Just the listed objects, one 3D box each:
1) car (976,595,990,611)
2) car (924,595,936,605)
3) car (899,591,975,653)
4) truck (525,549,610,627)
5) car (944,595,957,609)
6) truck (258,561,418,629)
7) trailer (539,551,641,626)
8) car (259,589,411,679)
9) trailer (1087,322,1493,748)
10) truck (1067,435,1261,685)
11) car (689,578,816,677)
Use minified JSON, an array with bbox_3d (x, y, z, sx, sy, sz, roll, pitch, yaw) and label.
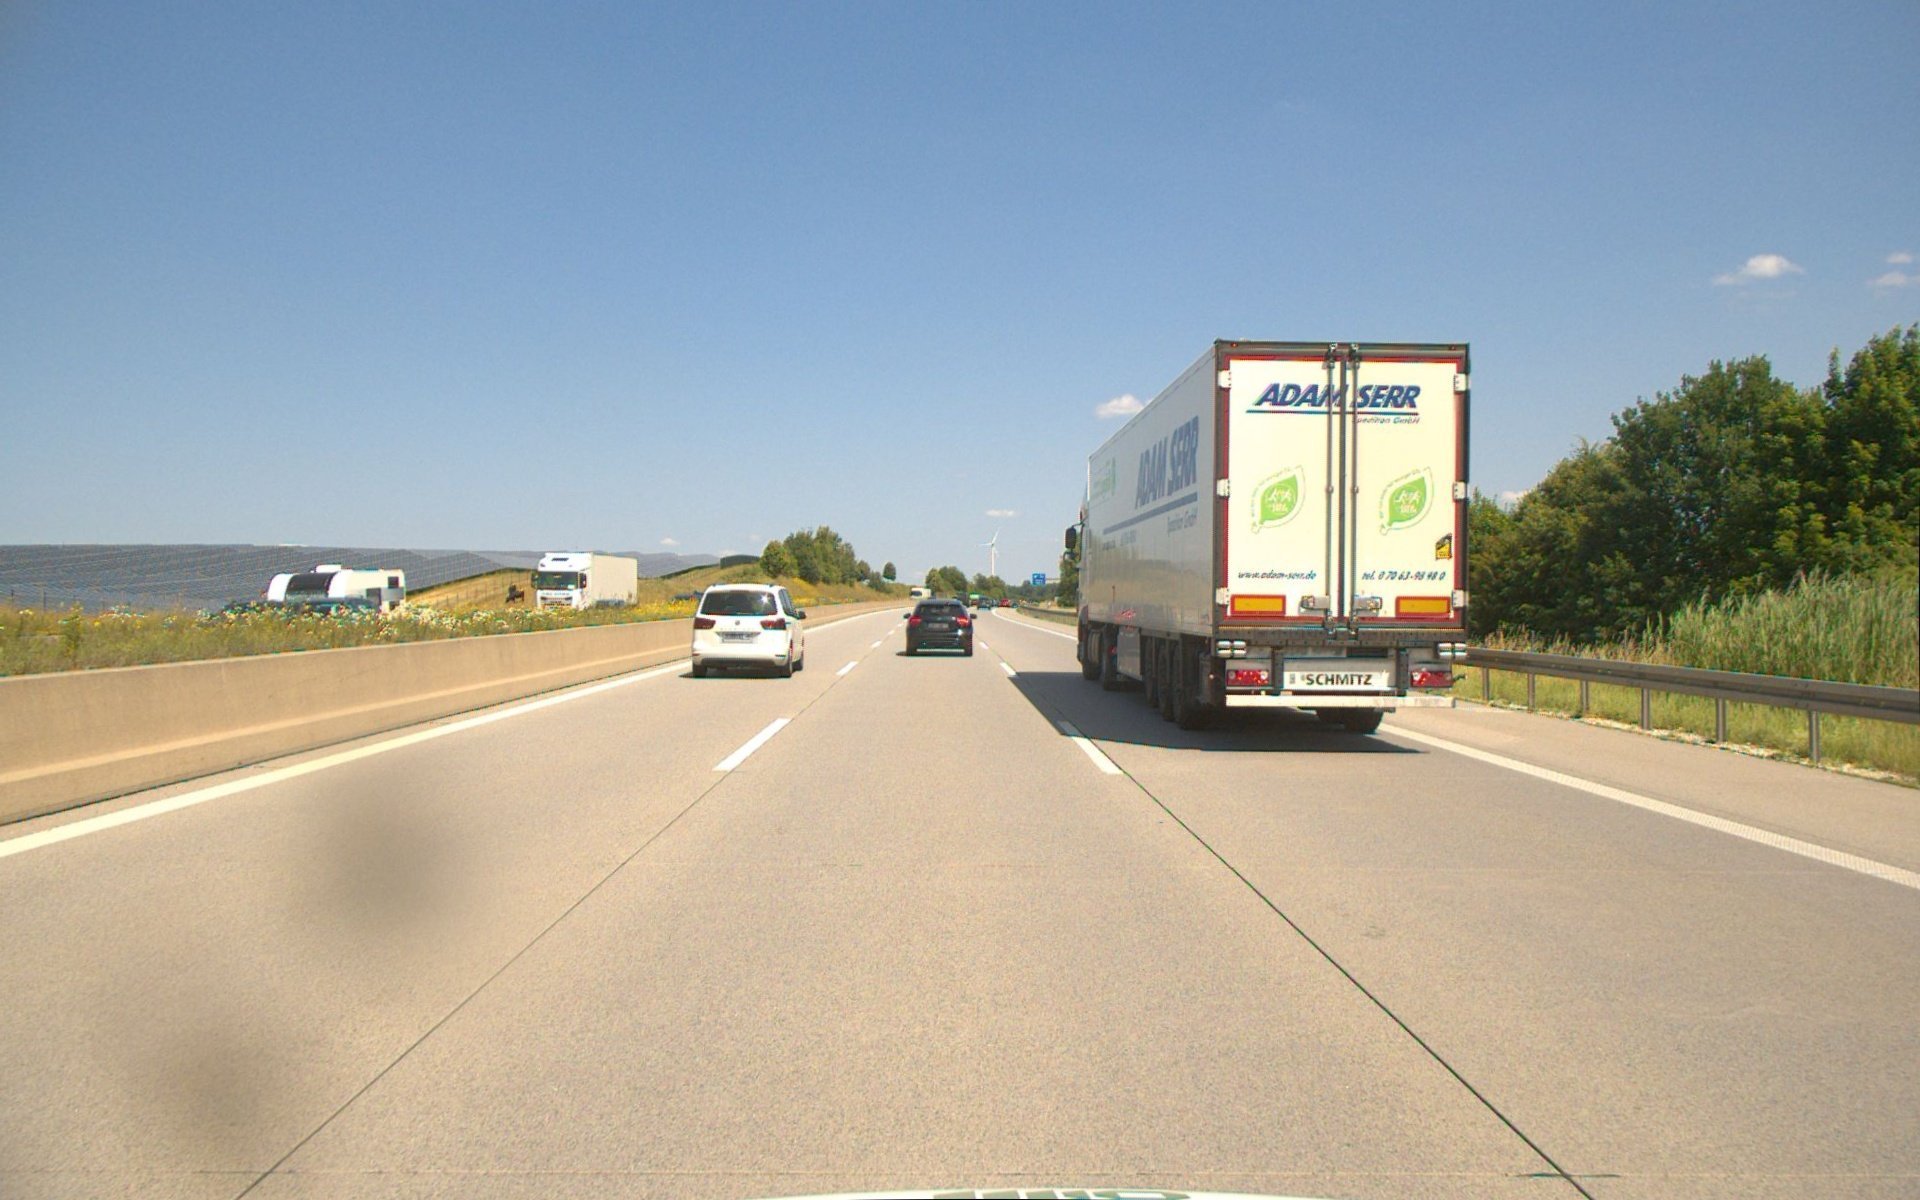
[{"bbox_3d":[3.001,0.381,215.688,1.789,1.940,4.000,1,0,0],"label":"car"},{"bbox_3d":[-4.238,-0.011,235.990,1.622,1.217,3.959,3,0,-1],"label":"car"},{"bbox_3d":[-0.662,0.553,43.956,1.872,1.518,4.190,1,0,-2],"label":"car"},{"bbox_3d":[-21.787,-0.623,92.108,3.027,4.074,7.253,1,0,-1],"label":"truck"},{"bbox_3d":[-1.342,0.306,239.639,1.790,1.971,3.809,0,0,0],"label":"car"},{"bbox_3d":[-20.423,-0.142,54.809,2.466,2.049,7.628,1,0,-1],"label":"truck"},{"bbox_3d":[-21.907,-0.603,98.891,3.027,4.074,14.137,1,0,-1],"label":"trailer"},{"bbox_3d":[-13.059,0.690,34.768,1.788,1.758,3.740,1,0,-1],"label":"car"},{"bbox_3d":[3.718,-0.645,22.499,2.794,4.113,12.711,1,0,-1],"label":"trailer"},{"bbox_3d":[3.616,-0.671,30.705,2.755,4.159,5.797,1,0,-1],"label":"truck"},{"bbox_3d":[-3.969,0.511,32.553,1.808,1.738,6.034,1,0,-1],"label":"car"}]
